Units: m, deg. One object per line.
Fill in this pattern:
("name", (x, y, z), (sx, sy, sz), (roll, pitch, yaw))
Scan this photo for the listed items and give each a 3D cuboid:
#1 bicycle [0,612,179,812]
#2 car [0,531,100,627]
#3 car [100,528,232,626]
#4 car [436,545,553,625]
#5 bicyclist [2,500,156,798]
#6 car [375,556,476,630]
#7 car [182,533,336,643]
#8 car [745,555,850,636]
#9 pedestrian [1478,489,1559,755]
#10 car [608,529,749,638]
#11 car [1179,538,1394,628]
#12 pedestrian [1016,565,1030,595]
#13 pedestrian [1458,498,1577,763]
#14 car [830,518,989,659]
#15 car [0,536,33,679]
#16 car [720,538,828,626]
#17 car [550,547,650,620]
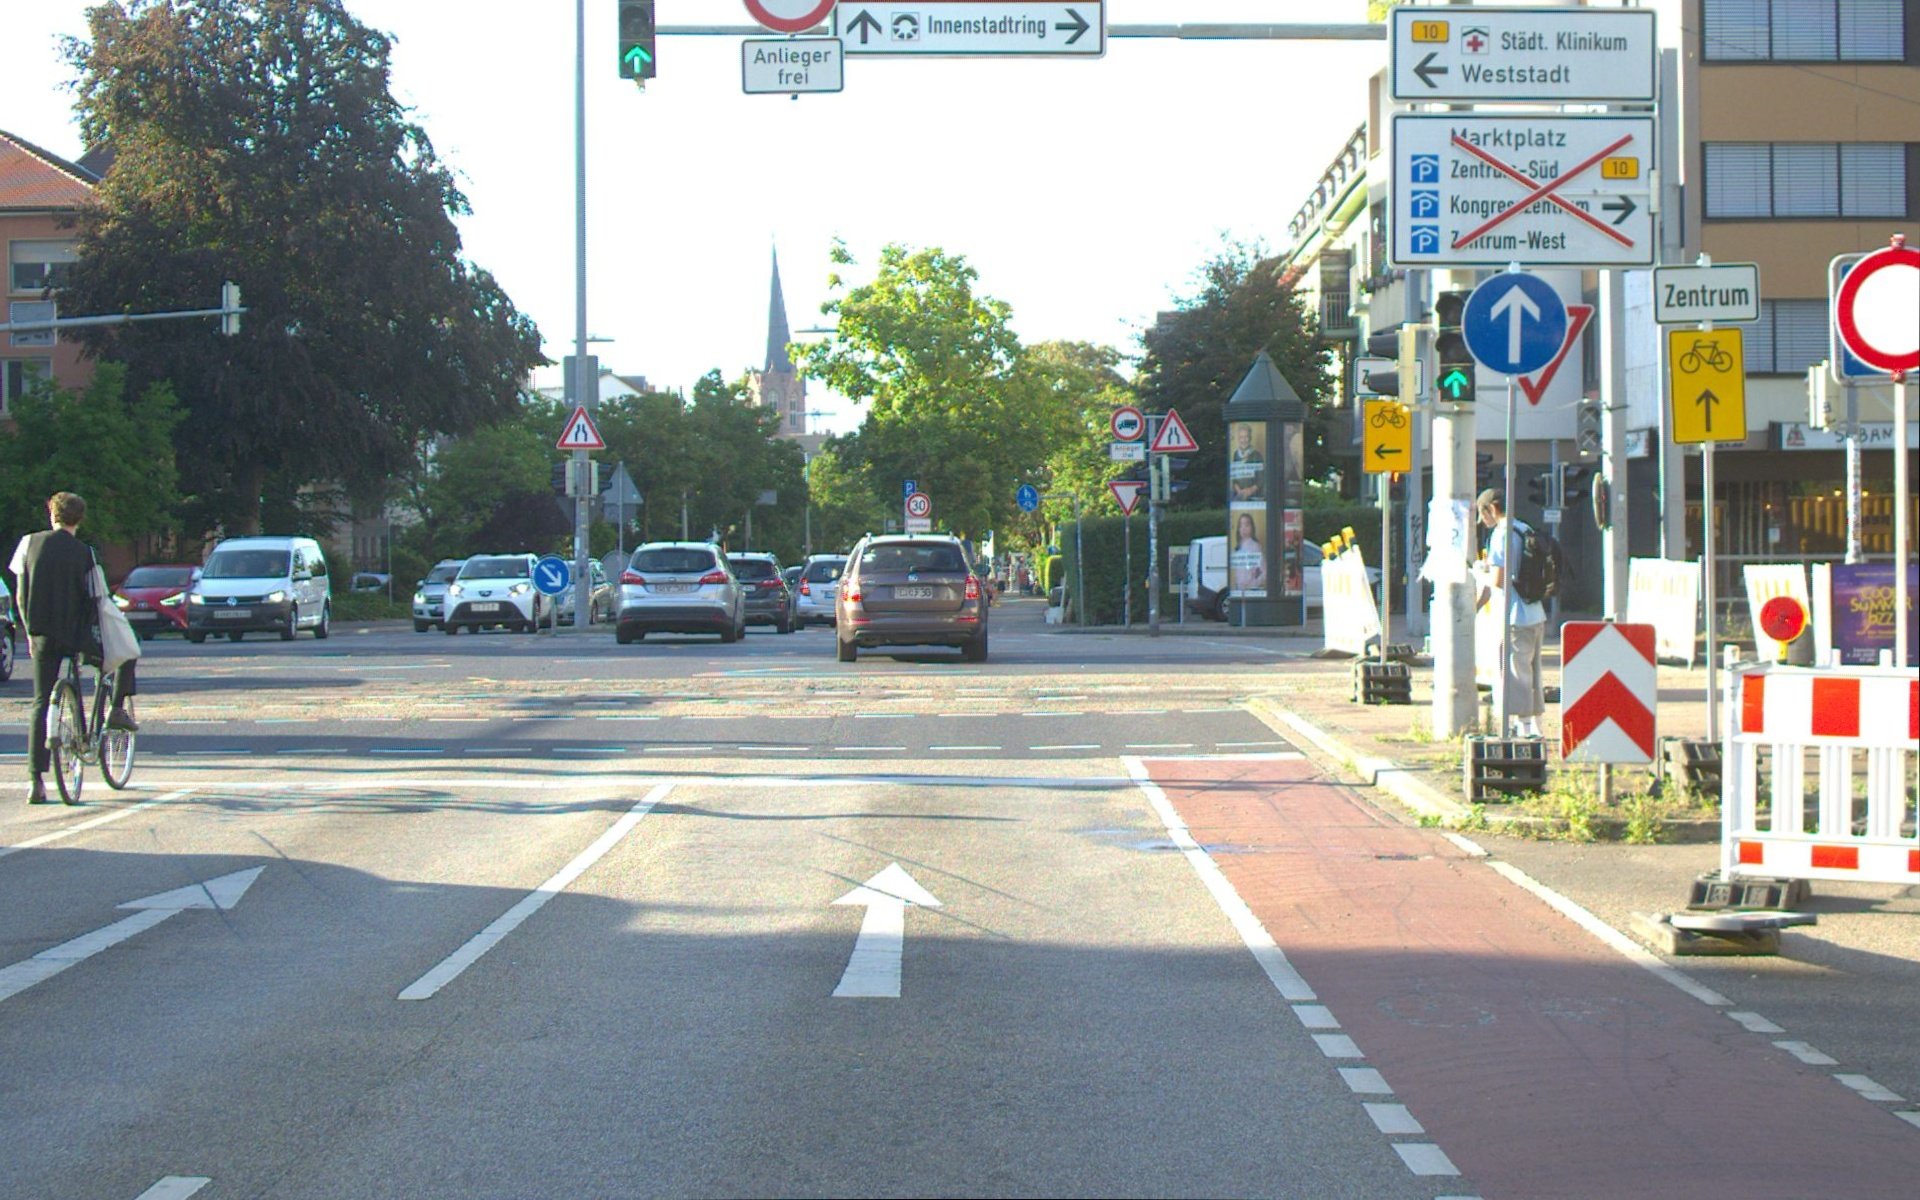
("bicycle", (-5.228, 0.638, 20.577), (0.699, 1.096, 2.258), (0, 1, -3))
("car", (-15.231, -0.352, 55.605), (1.658, 1.489, 4.347), (0, 1, -1))
("car", (-15.156, -0.449, 65.796), (1.748, 1.805, 4.050), (0, 1, -3))
("car", (-8.799, -0.312, 65.218), (1.847, 1.456, 4.050), (0, 1, -3))
("bicyclist", (-5.229, 0.277, 20.446), (0.691, 1.722, 0.988), (0, 1, -3))
("car", (-12.338, -0.187, 79.499), (1.880, 1.648, 4.050), (0, 1, -3))
("car", (-12.066, -0.237, 59.457), (1.915, 1.805, 4.718), (0, 1, -3))
("car", (-3.271, -0.066, 69.813), (1.993, 1.503, 4.000), (-2, -1, -1))
("pedestrian", (3.967, 0.151, 24.446), (0.520, 1.862, 0.614), (0, 1, 5))
("car", (-4.172, -0.267, 51.397), (1.748, 1.559, 4.050), (0, 1, 0))
("car", (6.943, -0.376, 73.394), (4.363, 1.871, 2.000), (0, 1, -1))
("pedestrian", (3.513, -1.101, 192.161), (0.766, 1.678, 0.999), (0, 1, -1))
("pedestrian", (3.841, 0.203, 23.672), (0.741, 1.793, 0.715), (0, 1, 14))
("car", (-0.551, -0.158, 40.184), (1.748, 1.559, 4.050), (0, 1, 0))
("car", (-10.823, 0.091, 35.226), (1.658, 1.489, 4.000), (0, 1, -2))
("car", (-3.416, -0.349, 63.682), (1.748, 1.559, 4.050), (0, 1, 0))
("car", (-7.438, -0.365, 71.305), (1.847, 1.456, 4.050), (0, 1, -3))
